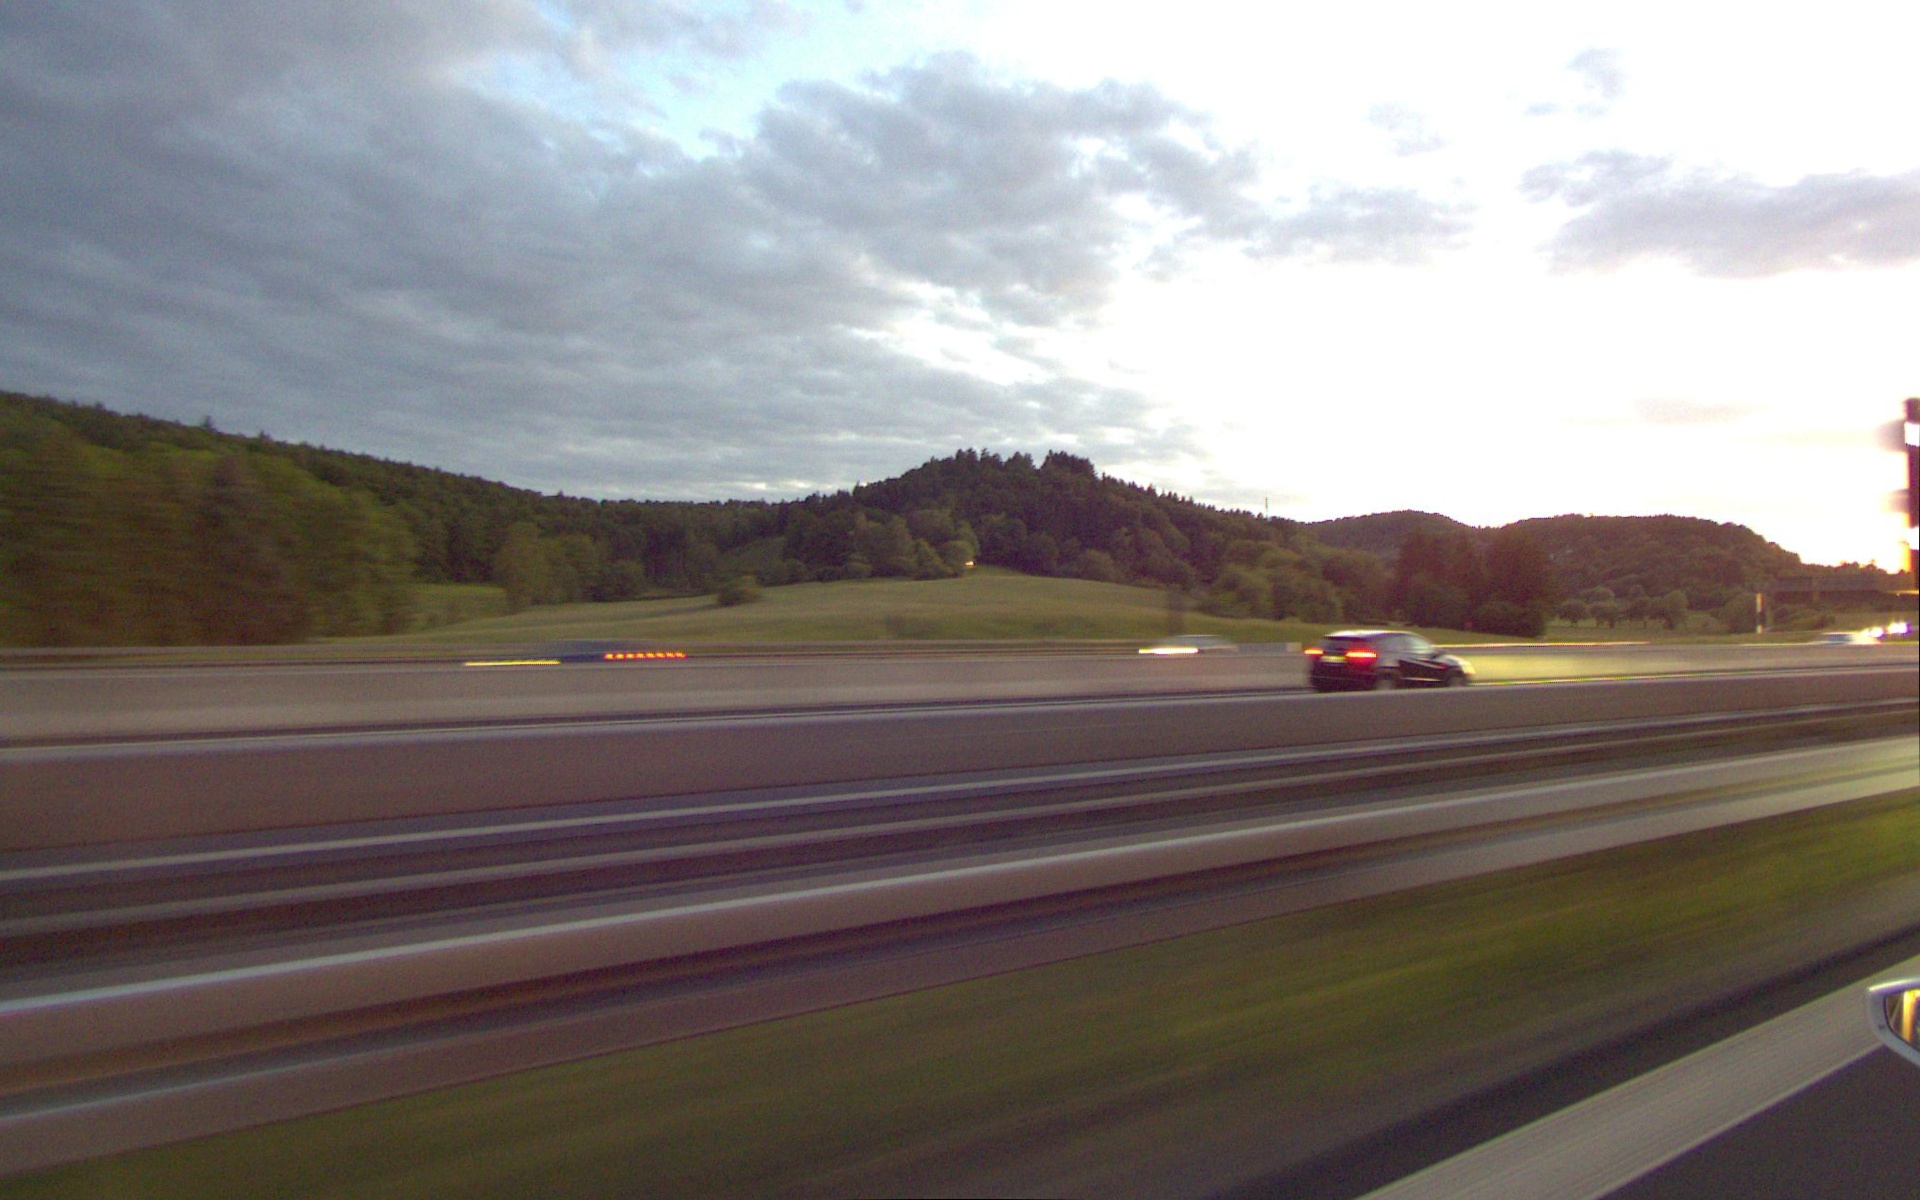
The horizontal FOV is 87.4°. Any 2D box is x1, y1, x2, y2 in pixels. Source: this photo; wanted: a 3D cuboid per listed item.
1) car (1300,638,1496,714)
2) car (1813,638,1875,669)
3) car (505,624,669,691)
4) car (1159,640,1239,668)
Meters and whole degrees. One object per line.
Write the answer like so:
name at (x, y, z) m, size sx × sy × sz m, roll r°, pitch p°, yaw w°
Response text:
car at (10.083, 1.689, 23.054) m, size 4.467 × 1.582 × 1.863 m, roll 2°, pitch -3°, yaw -30°
car at (51.779, 3.102, 58.807) m, size 3.708 × 1.728 × 1.674 m, roll 1°, pitch -1°, yaw -30°
car at (-12.141, 1.852, 32.807) m, size 4.685 × 2.040 × 1.981 m, roll 2°, pitch -3°, yaw -35°
car at (12.065, 2.719, 50.687) m, size 3.850 × 1.336 × 1.758 m, roll 2°, pitch -3°, yaw -32°
